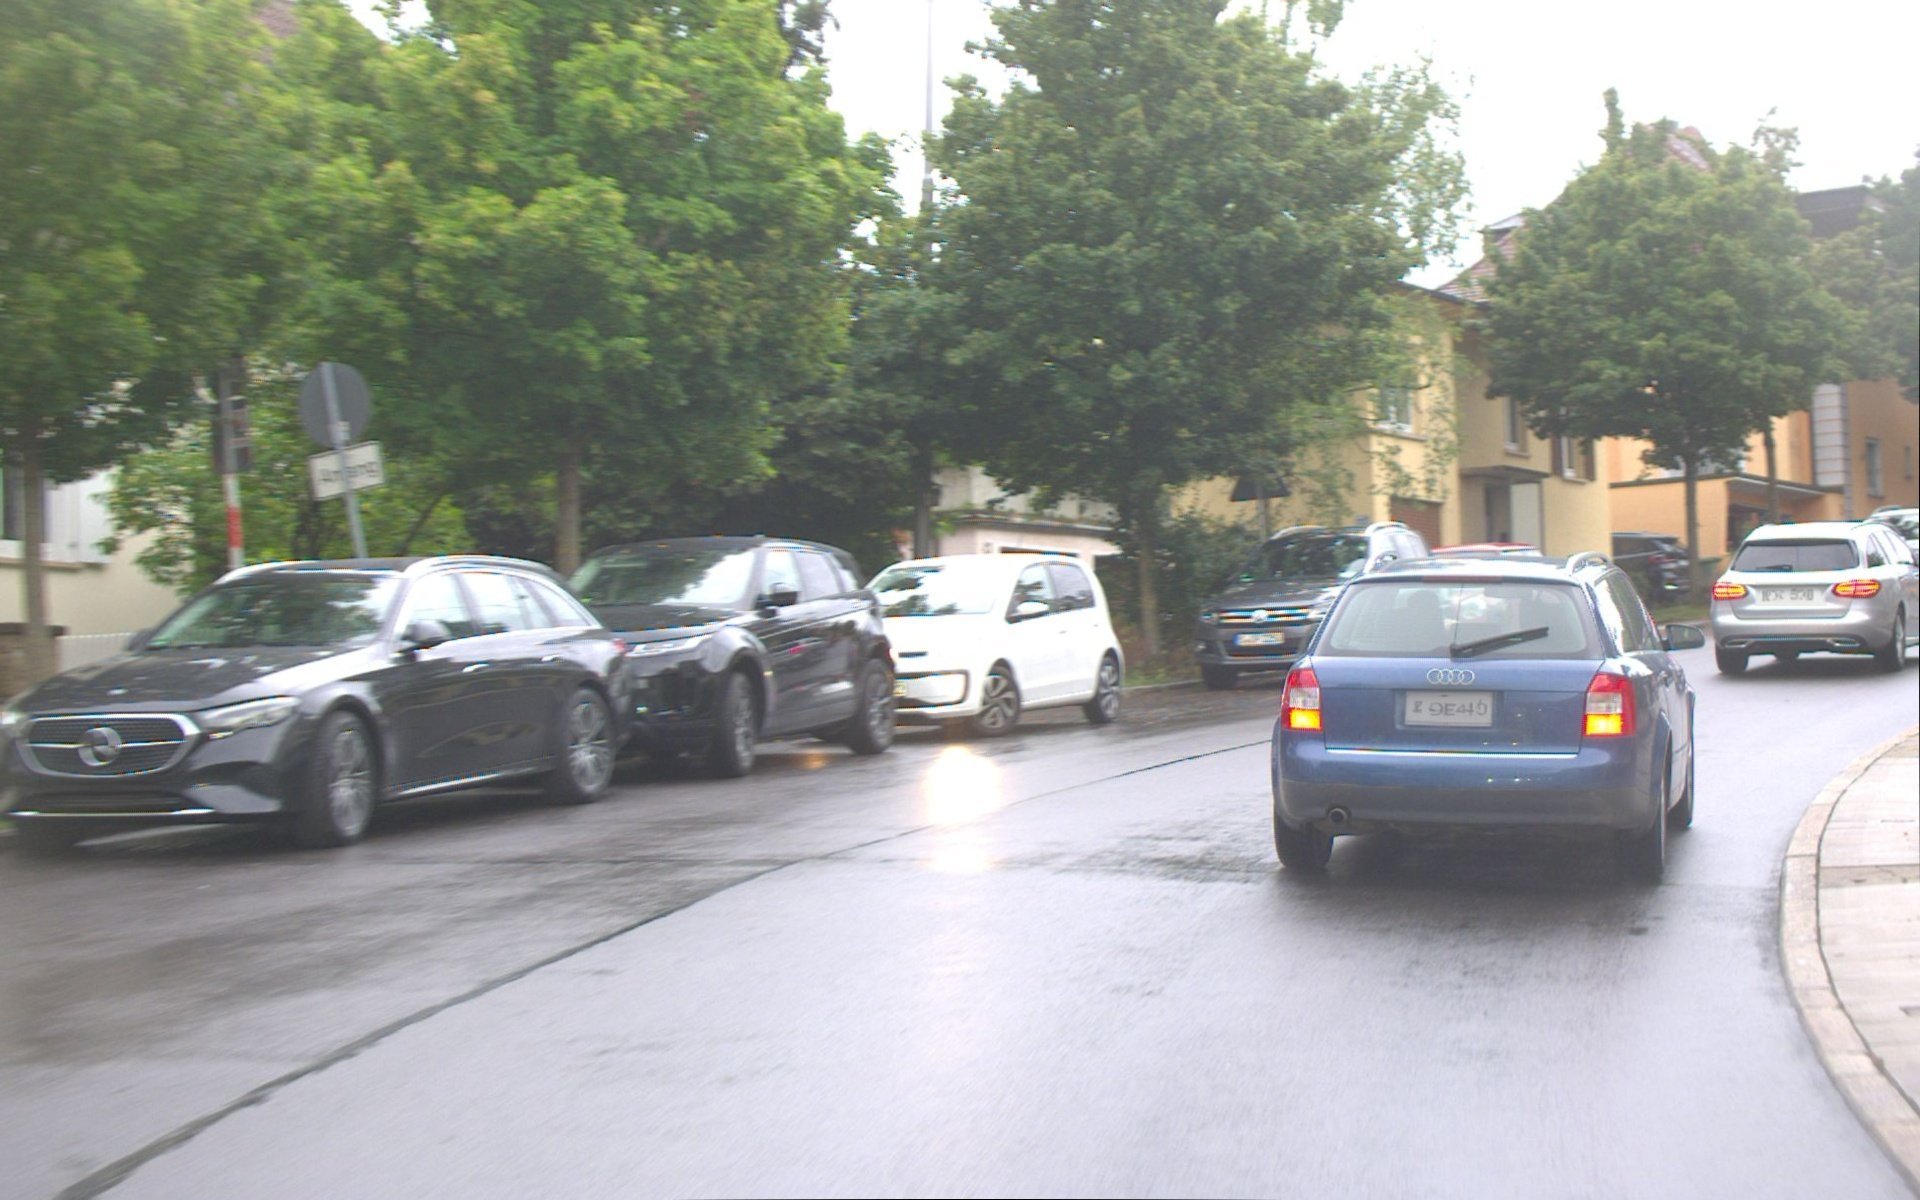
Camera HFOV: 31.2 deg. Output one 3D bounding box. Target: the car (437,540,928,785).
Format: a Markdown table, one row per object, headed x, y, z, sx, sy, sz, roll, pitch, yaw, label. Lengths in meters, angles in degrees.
| x | y | z | sx | sy | sz | roll | pitch | yaw | label |
| --- | --- | --- | --- | --- | --- | --- | --- | --- | --- |
| -1.803 | 0.371 | 23.818 | 1.735 | 1.540 | 4.206 | -1 | 1 | 21 | car |

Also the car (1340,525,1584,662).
| x | y | z | sx | sy | sz | roll | pitch | yaw | label |
| --- | --- | --- | --- | --- | --- | --- | --- | --- | --- |
| 6.071 | -0.103 | 41.250 | 1.684 | 1.467 | 3.860 | -3 | 0 | 27 | car |

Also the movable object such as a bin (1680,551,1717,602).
| x | y | z | sx | sy | sz | roll | pitch | yaw | label |
| --- | --- | --- | --- | --- | --- | --- | --- | --- | --- |
| 15.345 | -0.490 | 71.439 | 0.587 | 1.020 | 0.585 | -2 | 1 | 28 | movable object such as a bin |

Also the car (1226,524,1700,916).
| x | y | z | sx | sy | sz | roll | pitch | yaw | label |
| --- | --- | --- | --- | --- | --- | --- | --- | --- | --- |
| 2.515 | 0.473 | 16.378 | 1.734 | 1.461 | 3.998 | -1 | 3 | 15 | car |

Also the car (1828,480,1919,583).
| x | y | z | sx | sy | sz | roll | pitch | yaw | label |
| --- | --- | --- | --- | --- | --- | --- | --- | --- | --- |
| 17.300 | -1.297 | 62.349 | 1.771 | 1.629 | 4.103 | -7 | -1 | 31 | car |

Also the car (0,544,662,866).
| x | y | z | sx | sy | sz | roll | pitch | yaw | label |
| --- | --- | --- | --- | --- | --- | --- | --- | --- | --- |
| -3.493 | 0.480 | 19.104 | 1.868 | 1.540 | 4.900 | -1 | 1 | 18 | car |

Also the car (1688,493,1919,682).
| x | y | z | sx | sy | sz | roll | pitch | yaw | label |
| --- | --- | --- | --- | --- | --- | --- | --- | --- | --- |
| 8.783 | -0.167 | 34.580 | 1.978 | 1.629 | 4.230 | -1 | 3 | 24 | car |

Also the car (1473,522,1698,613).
| x | y | z | sx | sy | sz | roll | pitch | yaw | label |
| --- | --- | --- | --- | --- | --- | --- | --- | --- | --- |
| 12.761 | -0.664 | 70.174 | 4.060 | 1.640 | 1.860 | -3 | 0 | 31 | car |

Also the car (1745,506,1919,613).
| x | y | z | sx | sy | sz | roll | pitch | yaw | label |
| --- | --- | --- | --- | --- | --- | --- | --- | --- | --- |
| 14.675 | -0.706 | 57.496 | 1.771 | 1.530 | 4.599 | -5 | 0 | 28 | car |

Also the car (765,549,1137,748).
| x | y | z | sx | sy | sz | roll | pitch | yaw | label |
| --- | --- | --- | --- | --- | --- | --- | --- | --- | --- |
| 0.008 | 0.356 | 28.383 | 1.735 | 1.461 | 3.996 | -1 | 1 | 21 | car |

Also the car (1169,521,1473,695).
| x | y | z | sx | sy | sz | roll | pitch | yaw | label |
| --- | --- | --- | --- | --- | --- | --- | --- | --- | --- |
| 3.927 | 0.041 | 36.719 | 1.803 | 1.663 | 4.420 | -3 | 0 | 25 | car |
